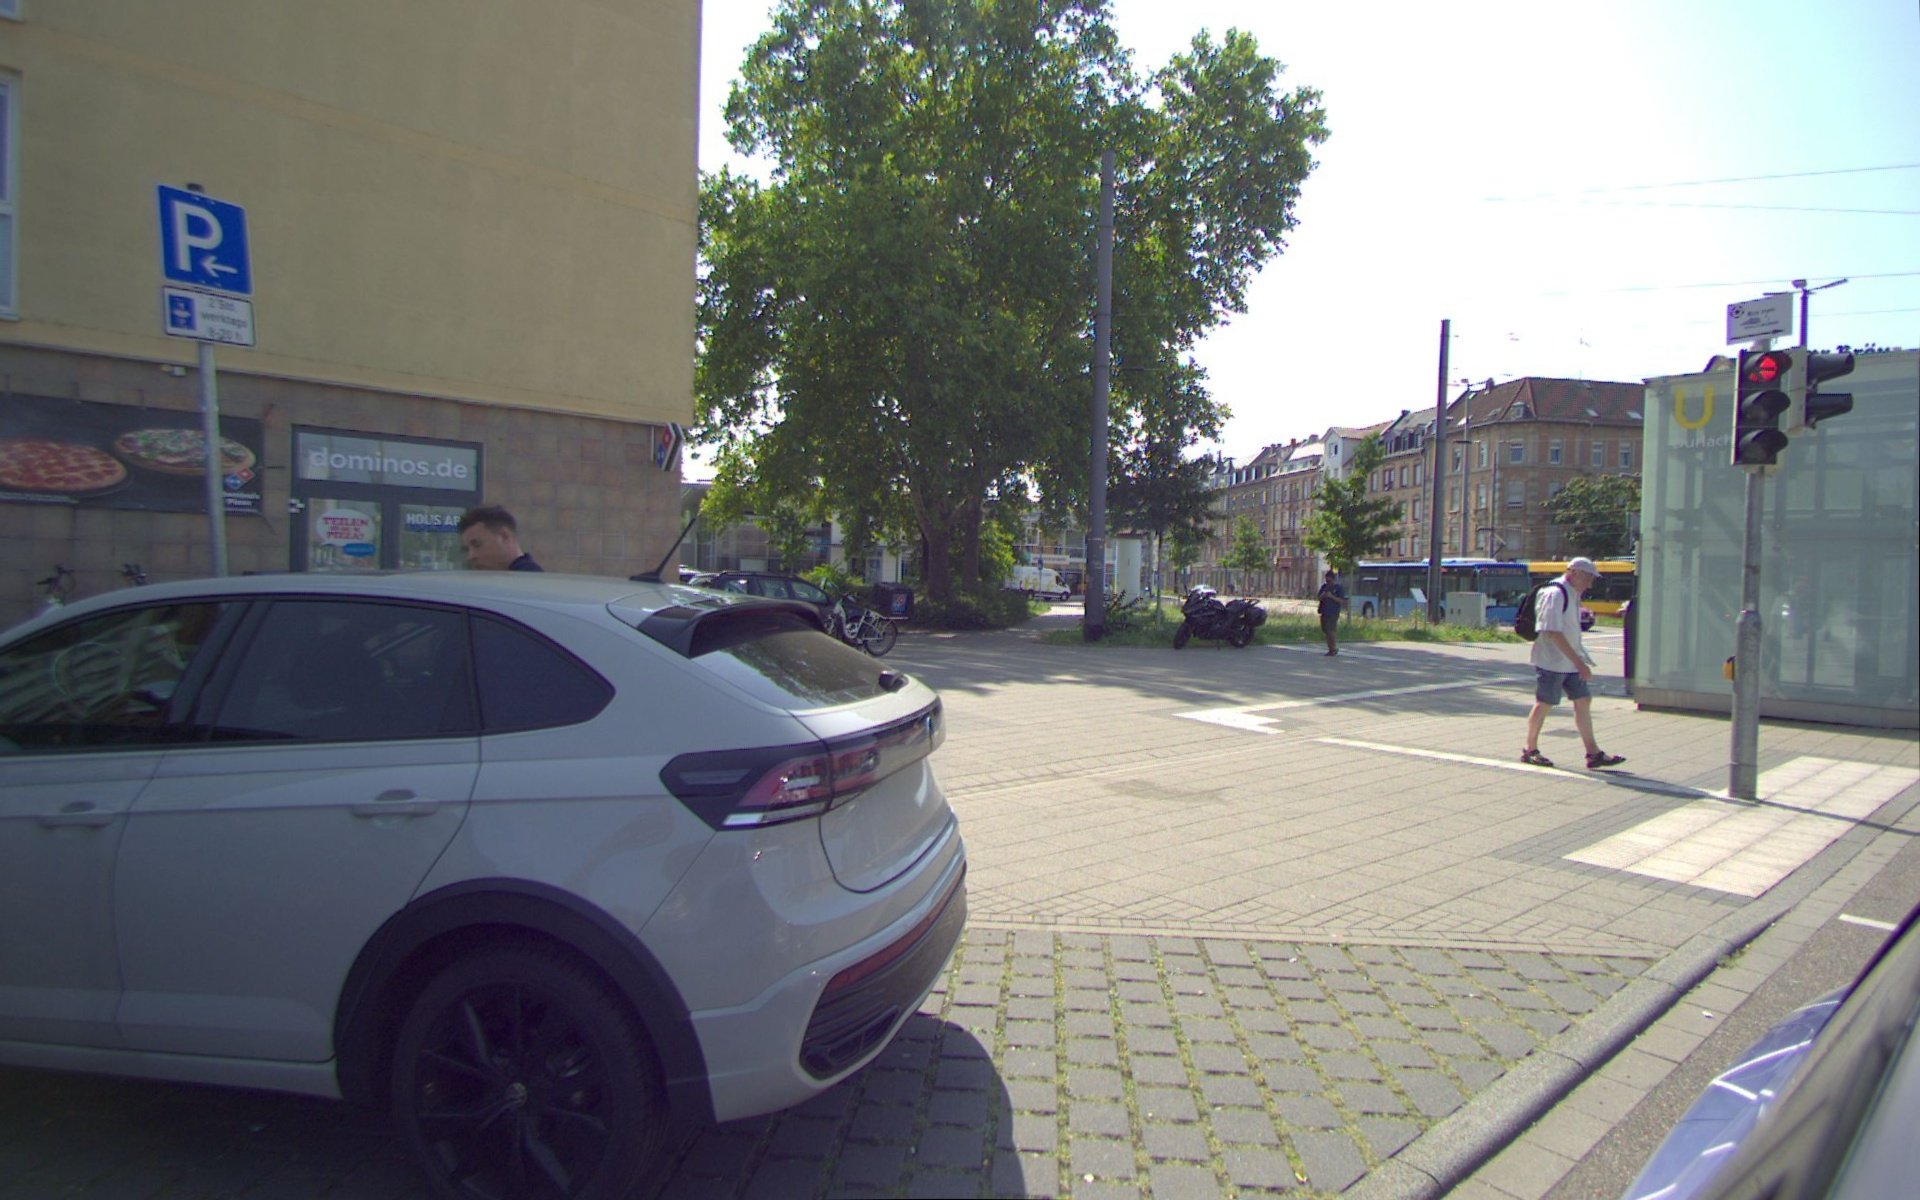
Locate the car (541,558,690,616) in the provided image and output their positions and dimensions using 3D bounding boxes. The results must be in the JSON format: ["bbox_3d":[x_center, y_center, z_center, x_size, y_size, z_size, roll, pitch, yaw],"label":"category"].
[{"bbox_3d":[-10.651,-0.398,31.435,4.004,1.687,1.788,0,2,-42],"label":"car"}]

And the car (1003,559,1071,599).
[{"bbox_3d":[5.746,-1.552,75.464,5.123,2.617,1.847,3,0,-40],"label":"car"}]

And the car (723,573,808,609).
[{"bbox_3d":[-8.380,-0.386,43.727,3.232,1.479,1.614,1,2,-39],"label":"car"}]

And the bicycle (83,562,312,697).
[{"bbox_3d":[-7.594,0.271,10.152,1.796,1.254,0.409,1,1,-42],"label":"bicycle"}]

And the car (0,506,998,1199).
[{"bbox_3d":[-1.841,0.580,3.154,3.724,1.519,1.802,0,-1,10],"label":"car"}]

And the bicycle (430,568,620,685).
[{"bbox_3d":[-5.111,0.285,11.959,1.926,1.262,0.729,0,1,-41],"label":"bicycle"}]

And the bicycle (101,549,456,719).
[{"bbox_3d":[-6.608,0.269,9.809,3.315,1.422,0.900,2,1,15],"label":"bicycle"}]

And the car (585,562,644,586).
[{"bbox_3d":[-22.845,-1.727,66.955,3.469,1.507,1.618,1,1,-27],"label":"car"}]

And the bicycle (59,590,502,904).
[{"bbox_3d":[-3.278,0.624,5.042,1.759,1.312,0.474,-1,3,-38],"label":"bicycle"}]

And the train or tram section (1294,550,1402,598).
[{"bbox_3d":[31.341,-2.154,82.539,2.543,3.604,12.237,1,2,-8],"label":"train or tram section"}]

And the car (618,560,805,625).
[{"bbox_3d":[-6.203,-0.201,25.494,4.174,1.488,1.903,0,2,-42],"label":"car"}]

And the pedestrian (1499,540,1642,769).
[{"bbox_3d":[5.220,0.430,8.664,0.800,1.831,0.820,1,0,-39],"label":"pedestrian"}]

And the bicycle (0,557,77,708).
[{"bbox_3d":[-8.937,0.252,8.366,2.377,1.254,0.942,1,1,-37],"label":"bicycle"}]

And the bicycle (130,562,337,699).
[{"bbox_3d":[-6.976,0.285,9.773,1.514,1.254,0.593,1,1,-7],"label":"bicycle"}]

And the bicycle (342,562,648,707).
[{"bbox_3d":[-5.232,0.331,11.384,3.315,1.422,0.900,2,1,15],"label":"bicycle"}]

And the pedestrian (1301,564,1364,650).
[{"bbox_3d":[7.357,0.117,19.998,0.934,1.628,0.792,0,3,-43],"label":"pedestrian"}]

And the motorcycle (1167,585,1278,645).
[{"bbox_3d":[5.321,0.294,20.476,2.069,1.151,0.914,1,1,-27],"label":"motorcycle"}]

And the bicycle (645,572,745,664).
[{"bbox_3d":[-3.840,0.233,14.582,1.722,1.221,0.580,3,2,44],"label":"bicycle"}]

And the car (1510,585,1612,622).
[{"bbox_3d":[26.965,0.131,45.536,1.595,1.490,3.781,1,2,-19],"label":"car"}]

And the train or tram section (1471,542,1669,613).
[{"bbox_3d":[34.549,-1.354,58.293,2.543,3.604,12.237,1,2,-8],"label":"train or tram section"}]

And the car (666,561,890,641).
[{"bbox_3d":[-3.682,0.042,20.869,4.172,1.489,1.903,1,-1,-41],"label":"car"}]

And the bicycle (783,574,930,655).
[{"bbox_3d":[-1.702,0.221,16.888,2.391,1.254,0.794,0,2,-40],"label":"bicycle"}]

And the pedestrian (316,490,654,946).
[{"bbox_3d":[-2.061,0.436,4.457,1.027,1.726,0.897,1,0,24],"label":"pedestrian"}]

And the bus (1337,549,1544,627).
[{"bbox_3d":[21.697,-0.647,46.941,2.679,3.102,12.098,2,1,-6],"label":"bus"}]
